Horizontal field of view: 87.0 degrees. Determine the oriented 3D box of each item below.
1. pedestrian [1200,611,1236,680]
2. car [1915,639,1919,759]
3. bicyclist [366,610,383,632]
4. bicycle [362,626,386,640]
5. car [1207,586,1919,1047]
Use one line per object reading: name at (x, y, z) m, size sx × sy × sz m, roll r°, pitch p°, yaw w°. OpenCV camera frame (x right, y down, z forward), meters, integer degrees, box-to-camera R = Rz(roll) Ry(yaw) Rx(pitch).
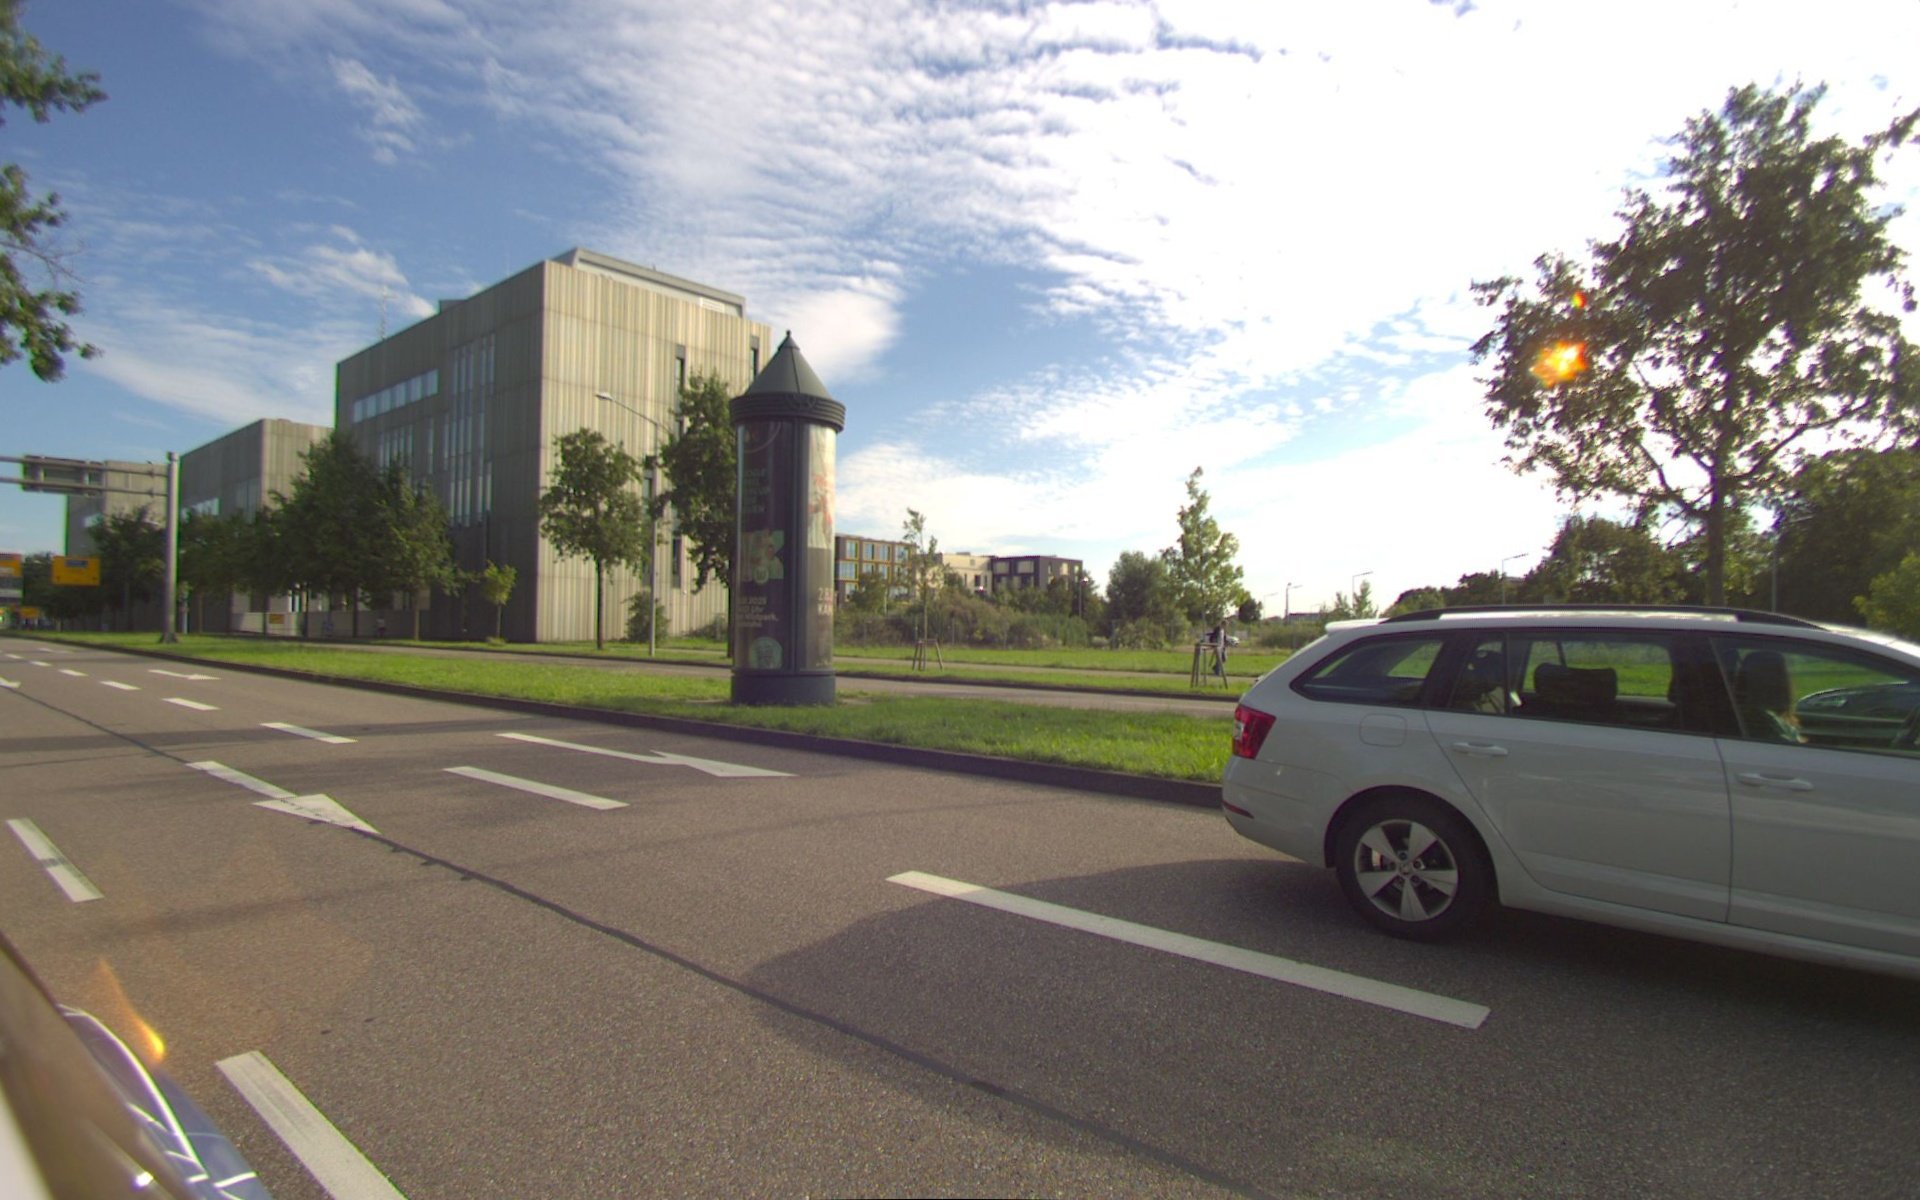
pedestrian at (7.819, 1.373, 30.666) m, size 0.867 × 2.029 × 0.667 m, roll -1°, pitch -3°, yaw 41°
car at (12.799, 1.140, 10.413) m, size 4.205 × 1.420 × 1.881 m, roll -1°, pitch -4°, yaw 41°
bicyclist at (-42.271, 1.524, 73.056) m, size 0.989 × 1.537 × 0.698 m, roll -1°, pitch -3°, yaw 41°
bicycle at (-42.324, 2.358, 73.083) m, size 1.910 × 0.989 × 0.885 m, roll -1°, pitch -3°, yaw 41°
car at (3.454, 0.721, 4.175) m, size 4.479 × 1.510 × 1.681 m, roll -1°, pitch -1°, yaw 41°
